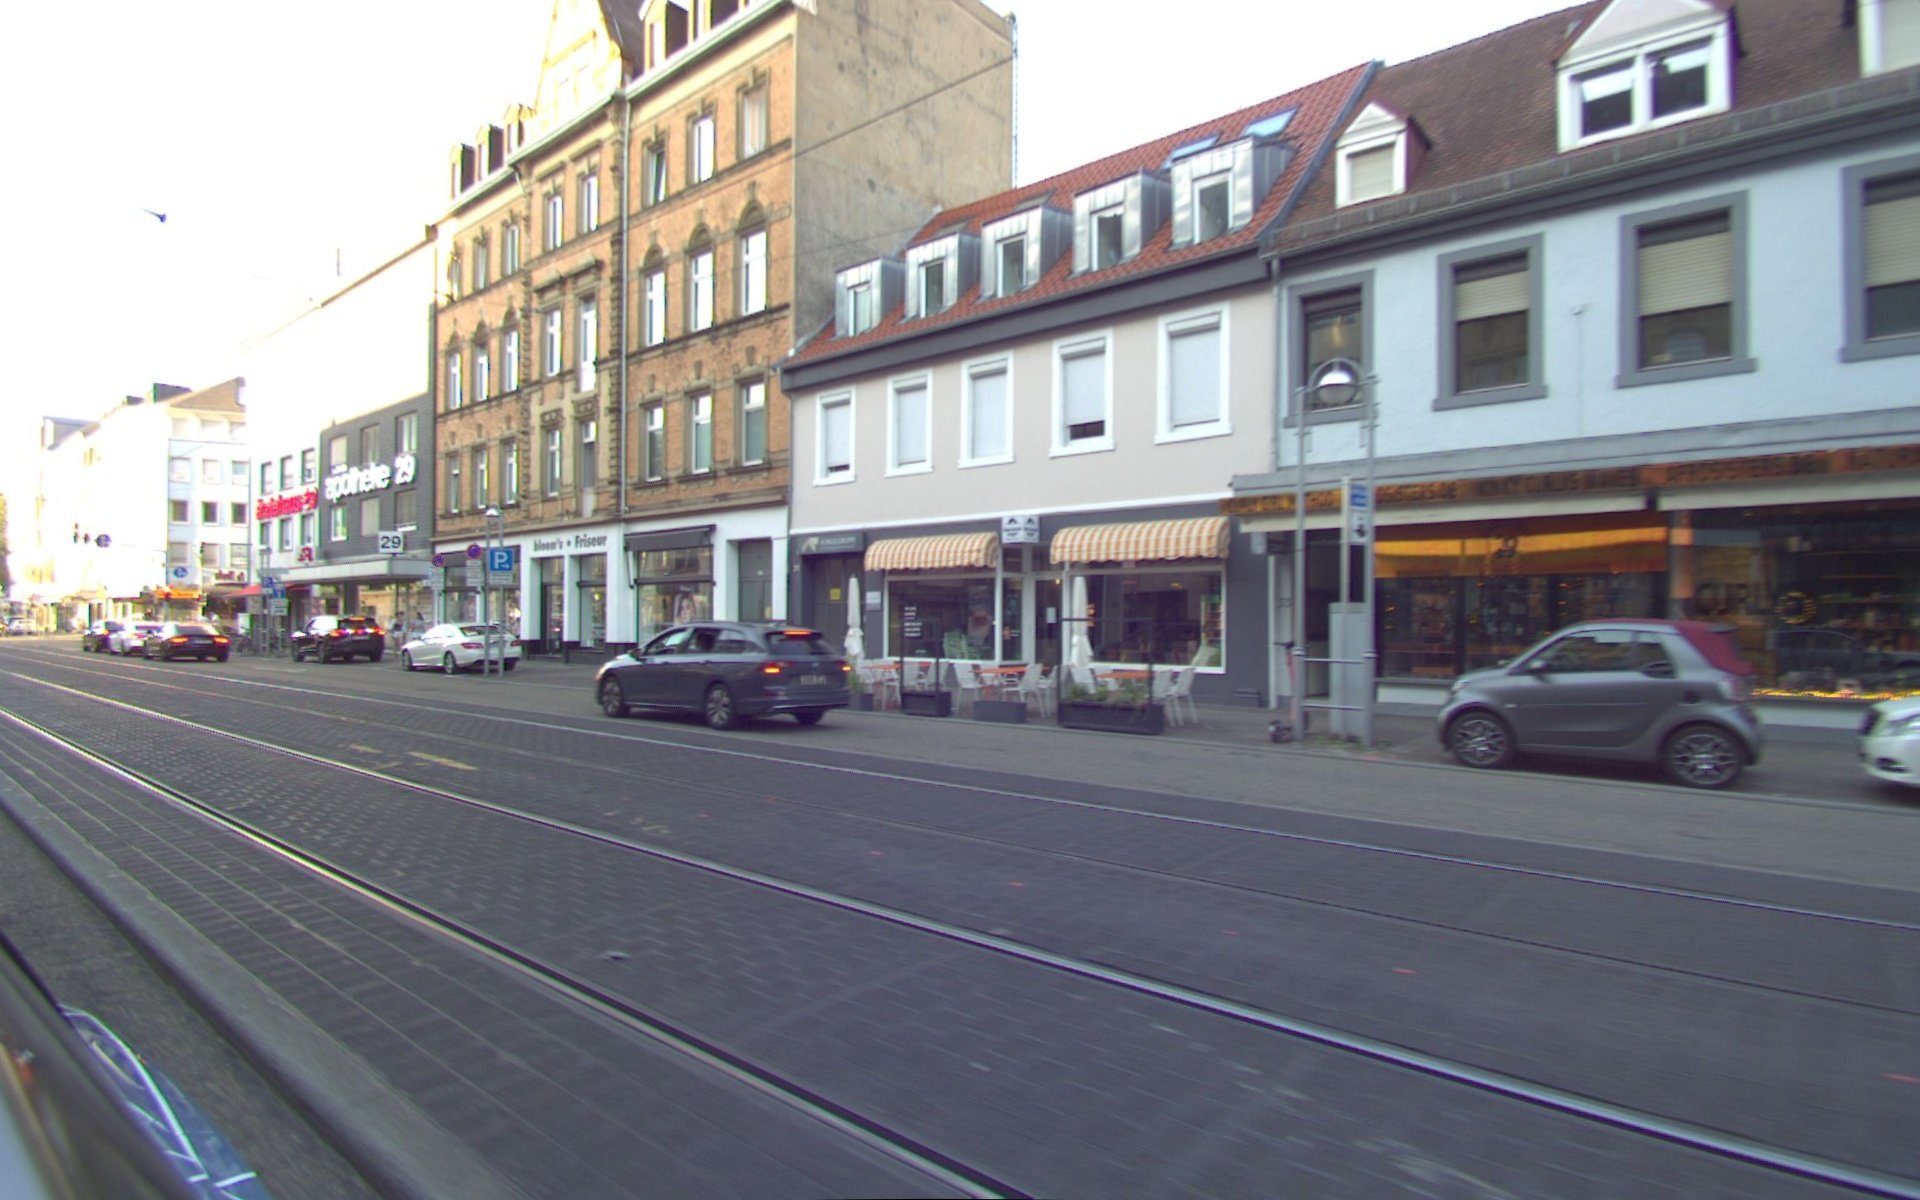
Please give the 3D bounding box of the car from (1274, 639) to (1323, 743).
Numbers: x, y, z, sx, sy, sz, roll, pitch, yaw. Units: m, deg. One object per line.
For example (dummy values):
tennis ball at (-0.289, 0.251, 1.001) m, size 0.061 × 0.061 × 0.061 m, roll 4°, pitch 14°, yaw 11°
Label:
car at (4.241, 1.114, 12.660) m, size 0.339 × 1.244 × 0.775 m, roll -1°, pitch -2°, yaw 39°

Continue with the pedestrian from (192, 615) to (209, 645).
pedestrian at (-44.896, 1.775, 59.851) m, size 0.668 × 1.758 × 0.630 m, roll -1°, pitch -2°, yaw 37°

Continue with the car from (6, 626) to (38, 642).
car at (-77.185, 2.807, 83.262) m, size 3.387 × 1.263 × 1.615 m, roll -2°, pitch 0°, yaw 41°

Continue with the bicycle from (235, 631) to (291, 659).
bicycle at (-28.885, 1.871, 41.962) m, size 0.489 × 1.055 × 1.812 m, roll -3°, pitch -1°, yaw 41°

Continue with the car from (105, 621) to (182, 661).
car at (-33.116, 1.646, 41.016) m, size 1.970 × 1.464 × 4.660 m, roll 4°, pitch -3°, yaw -44°

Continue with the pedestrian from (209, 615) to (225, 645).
pedestrian at (-44.482, 1.806, 60.572) m, size 0.599 × 1.792 × 0.630 m, roll -1°, pitch -2°, yaw 38°

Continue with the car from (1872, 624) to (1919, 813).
car at (9.953, 0.937, 7.417) m, size 4.821 × 1.464 × 1.972 m, roll -1°, pitch 0°, yaw 42°

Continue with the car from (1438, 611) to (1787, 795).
car at (6.506, 0.924, 10.199) m, size 2.792 × 1.589 × 1.462 m, roll -1°, pitch -2°, yaw 39°

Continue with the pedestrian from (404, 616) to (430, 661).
pedestrian at (-20.266, 1.422, 37.768) m, size 0.624 × 1.673 × 0.675 m, roll -2°, pitch -2°, yaw 41°

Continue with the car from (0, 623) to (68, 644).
car at (-63.382, 2.281, 69.044) m, size 1.593 × 1.344 × 3.452 m, roll -1°, pitch -2°, yaw 32°

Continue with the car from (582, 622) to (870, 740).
car at (-3.483, 1.066, 14.608) m, size 4.461 × 1.464 × 1.675 m, roll -1°, pitch -3°, yaw 40°

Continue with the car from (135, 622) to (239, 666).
car at (-27.690, 1.548, 36.219) m, size 4.645 × 1.464 × 1.973 m, roll -1°, pitch -3°, yaw 40°

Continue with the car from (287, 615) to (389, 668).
car at (-21.710, 1.415, 35.252) m, size 4.646 × 1.687 × 1.909 m, roll -2°, pitch -1°, yaw 43°

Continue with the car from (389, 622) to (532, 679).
car at (-14.433, 1.395, 29.140) m, size 4.603 × 1.464 × 1.851 m, roll -1°, pitch 0°, yaw 38°

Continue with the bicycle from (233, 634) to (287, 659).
bicycle at (-29.348, 1.932, 42.437) m, size 0.455 × 0.919 × 1.786 m, roll -3°, pitch -1°, yaw 41°

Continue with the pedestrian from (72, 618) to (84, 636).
pedestrian at (-74.529, 2.296, 85.502) m, size 0.621 × 1.483 × 0.539 m, roll -2°, pitch 1°, yaw 25°

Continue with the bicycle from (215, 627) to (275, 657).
bicycle at (-31.800, 1.863, 45.024) m, size 0.553 × 1.233 × 2.090 m, roll -1°, pitch 1°, yaw 41°

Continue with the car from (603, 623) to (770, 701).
car at (-5.850, 1.250, 21.420) m, size 3.811 × 1.451 × 1.581 m, roll -2°, pitch -1°, yaw 42°

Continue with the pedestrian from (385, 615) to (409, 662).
pedestrian at (-20.800, 1.400, 37.372) m, size 0.602 × 1.712 × 0.614 m, roll -2°, pitch -2°, yaw 41°

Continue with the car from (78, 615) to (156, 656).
car at (-37.562, 1.570, 45.048) m, size 4.726 × 1.740 × 1.972 m, roll -1°, pitch -4°, yaw 42°
